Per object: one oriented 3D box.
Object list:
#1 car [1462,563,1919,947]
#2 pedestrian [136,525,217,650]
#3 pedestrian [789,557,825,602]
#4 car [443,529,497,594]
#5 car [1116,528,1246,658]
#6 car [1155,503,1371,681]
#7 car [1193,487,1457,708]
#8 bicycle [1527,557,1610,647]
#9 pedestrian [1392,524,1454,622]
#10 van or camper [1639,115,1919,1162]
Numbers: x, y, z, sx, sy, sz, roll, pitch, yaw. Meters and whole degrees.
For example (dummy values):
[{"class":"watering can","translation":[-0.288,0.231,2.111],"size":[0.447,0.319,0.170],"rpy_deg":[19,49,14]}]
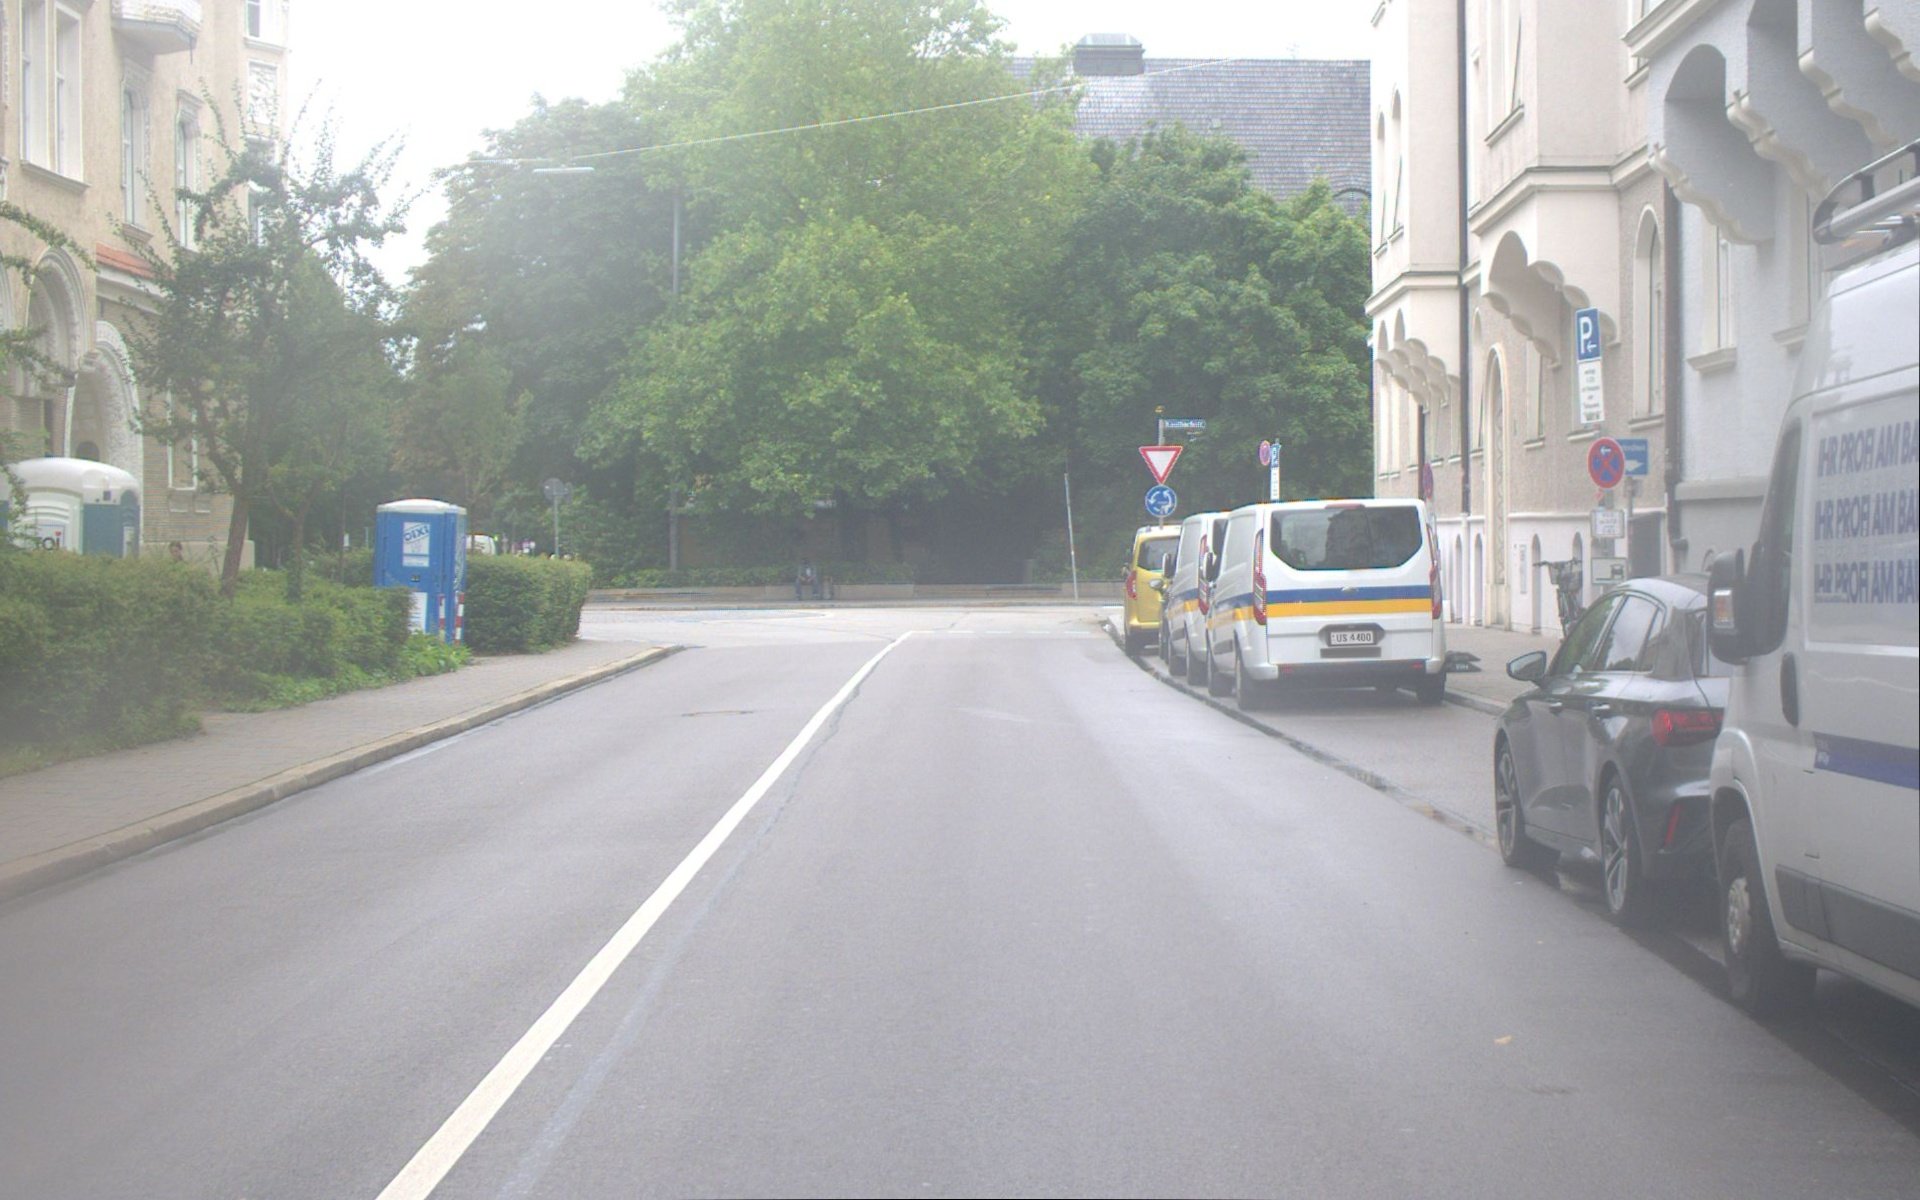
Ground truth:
[{"class":"car","translation":[3.428,0.571,15.184],"size":[1.753,1.429,4.087],"rpy_deg":[-1,1,-1]},{"class":"pedestrian","translation":[-11.121,-0.178,48.809],"size":[0.913,1.745,0.948],"rpy_deg":[-1,1,0]},{"class":"pedestrian","translation":[-4.131,-0.554,92.804],"size":[0.812,1.185,0.919],"rpy_deg":[0,1,7]},{"class":"car","translation":[-19.711,-1.565,138.197],"size":[2.041,2.549,5.250],"rpy_deg":[-1,1,-9]},{"class":"car","translation":[3.300,-0.146,51.622],"size":[1.850,1.846,4.820],"rpy_deg":[0,1,3]},{"class":"car","translation":[3.474,-0.128,40.344],"size":[1.959,1.930,4.993],"rpy_deg":[-1,1,-1]},{"class":"car","translation":[3.543,-0.065,34.248],"size":[1.959,2.007,4.993],"rpy_deg":[-1,1,-1]},{"class":"bicycle","translation":[7.776,0.015,44.002],"size":[0.694,1.090,2.037],"rpy_deg":[-2,1,1]},{"class":"pedestrian","translation":[8.415,-0.486,62.457],"size":[0.691,1.731,0.735],"rpy_deg":[-2,-2,-44]},{"class":"van or camper","translation":[3.392,0.082,9.561],"size":[1.953,2.628,5.459],"rpy_deg":[0,1,0]}]
